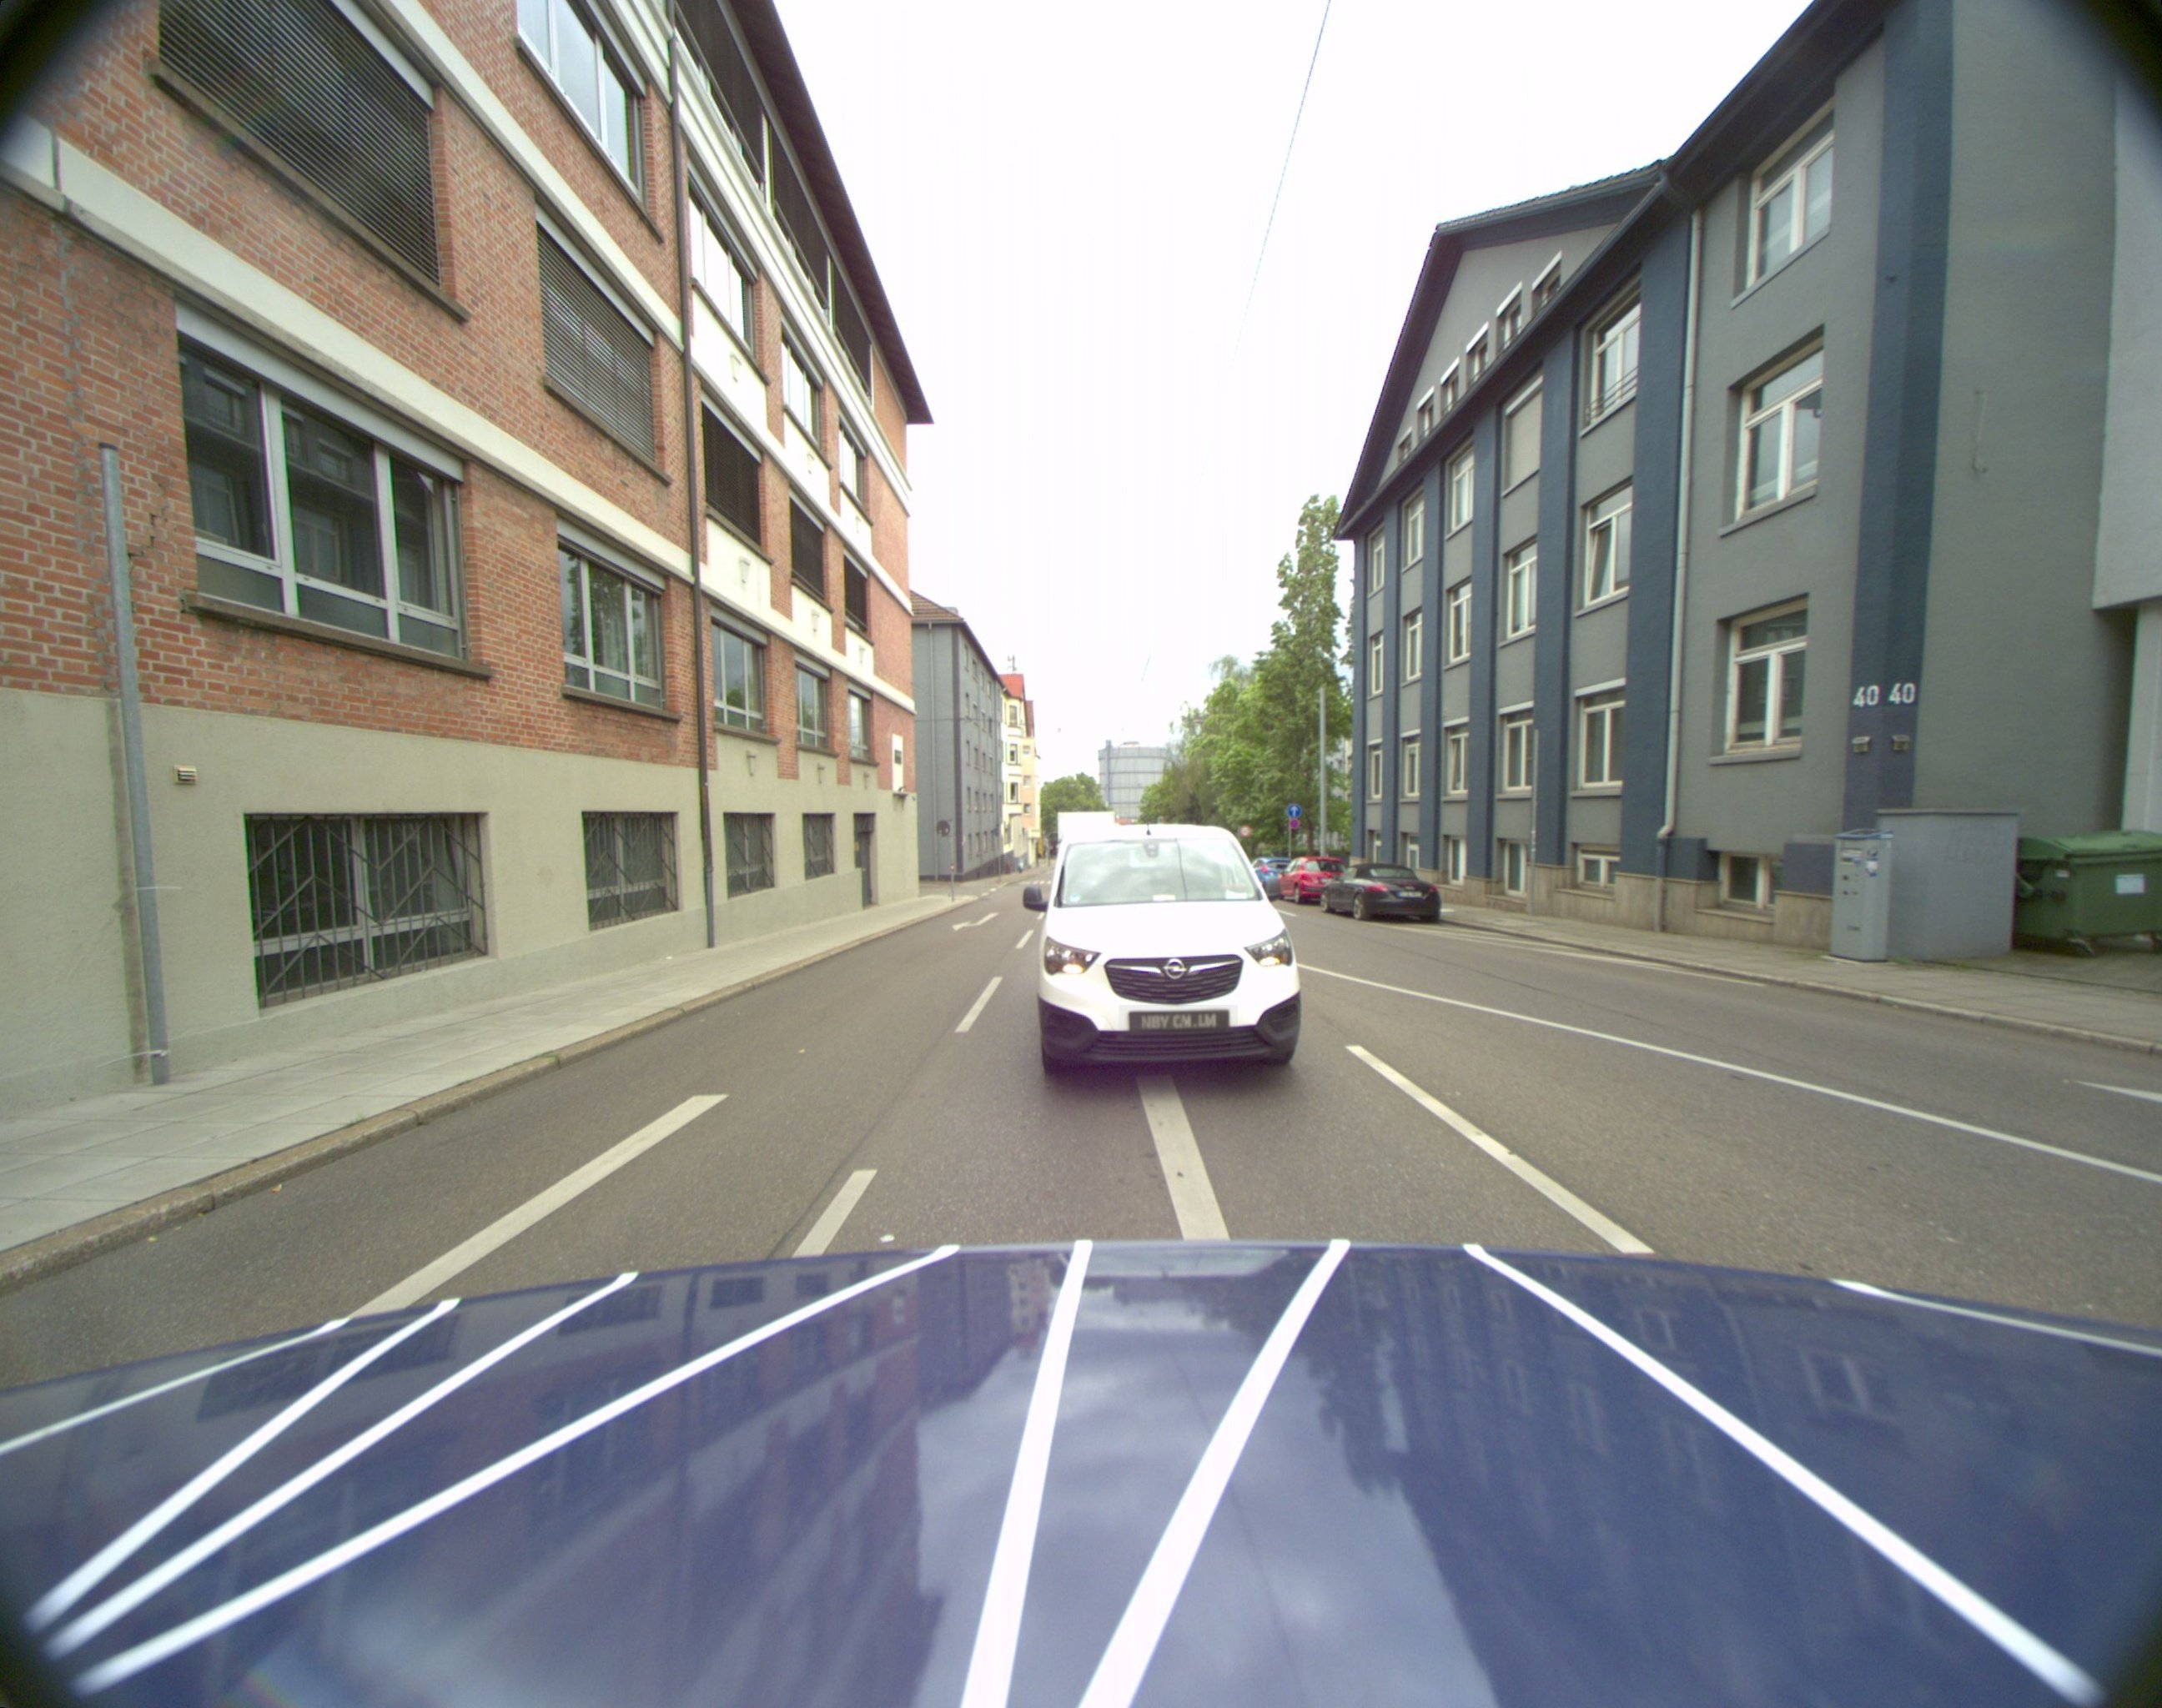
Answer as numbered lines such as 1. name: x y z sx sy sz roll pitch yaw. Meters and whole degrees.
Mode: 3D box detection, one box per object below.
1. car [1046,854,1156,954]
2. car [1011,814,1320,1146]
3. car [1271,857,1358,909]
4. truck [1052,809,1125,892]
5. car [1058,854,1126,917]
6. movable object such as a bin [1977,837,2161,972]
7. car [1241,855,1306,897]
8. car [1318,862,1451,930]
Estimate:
1. car: 0.356 0.813 14.393 1.739 1.519 3.999 -2 1 1
2. car: 0.522 0.717 6.428 1.739 1.875 3.999 -2 1 1
3. car: 7.385 0.871 24.344 1.644 1.441 3.729 -2 1 1
4. truck: 0.359 -0.215 36.684 2.969 3.409 8.879 -2 1 1
5. car: 0.318 0.824 21.885 1.739 1.519 3.999 -2 1 1
6. movable object such as a bin: 12.081 0.573 9.193 1.229 1.498 1.040 -2 1 1
7. car: 7.480 0.819 29.845 1.644 1.441 3.729 -2 1 1
8. car: 7.244 0.948 18.532 1.801 1.384 3.729 0 1 1
